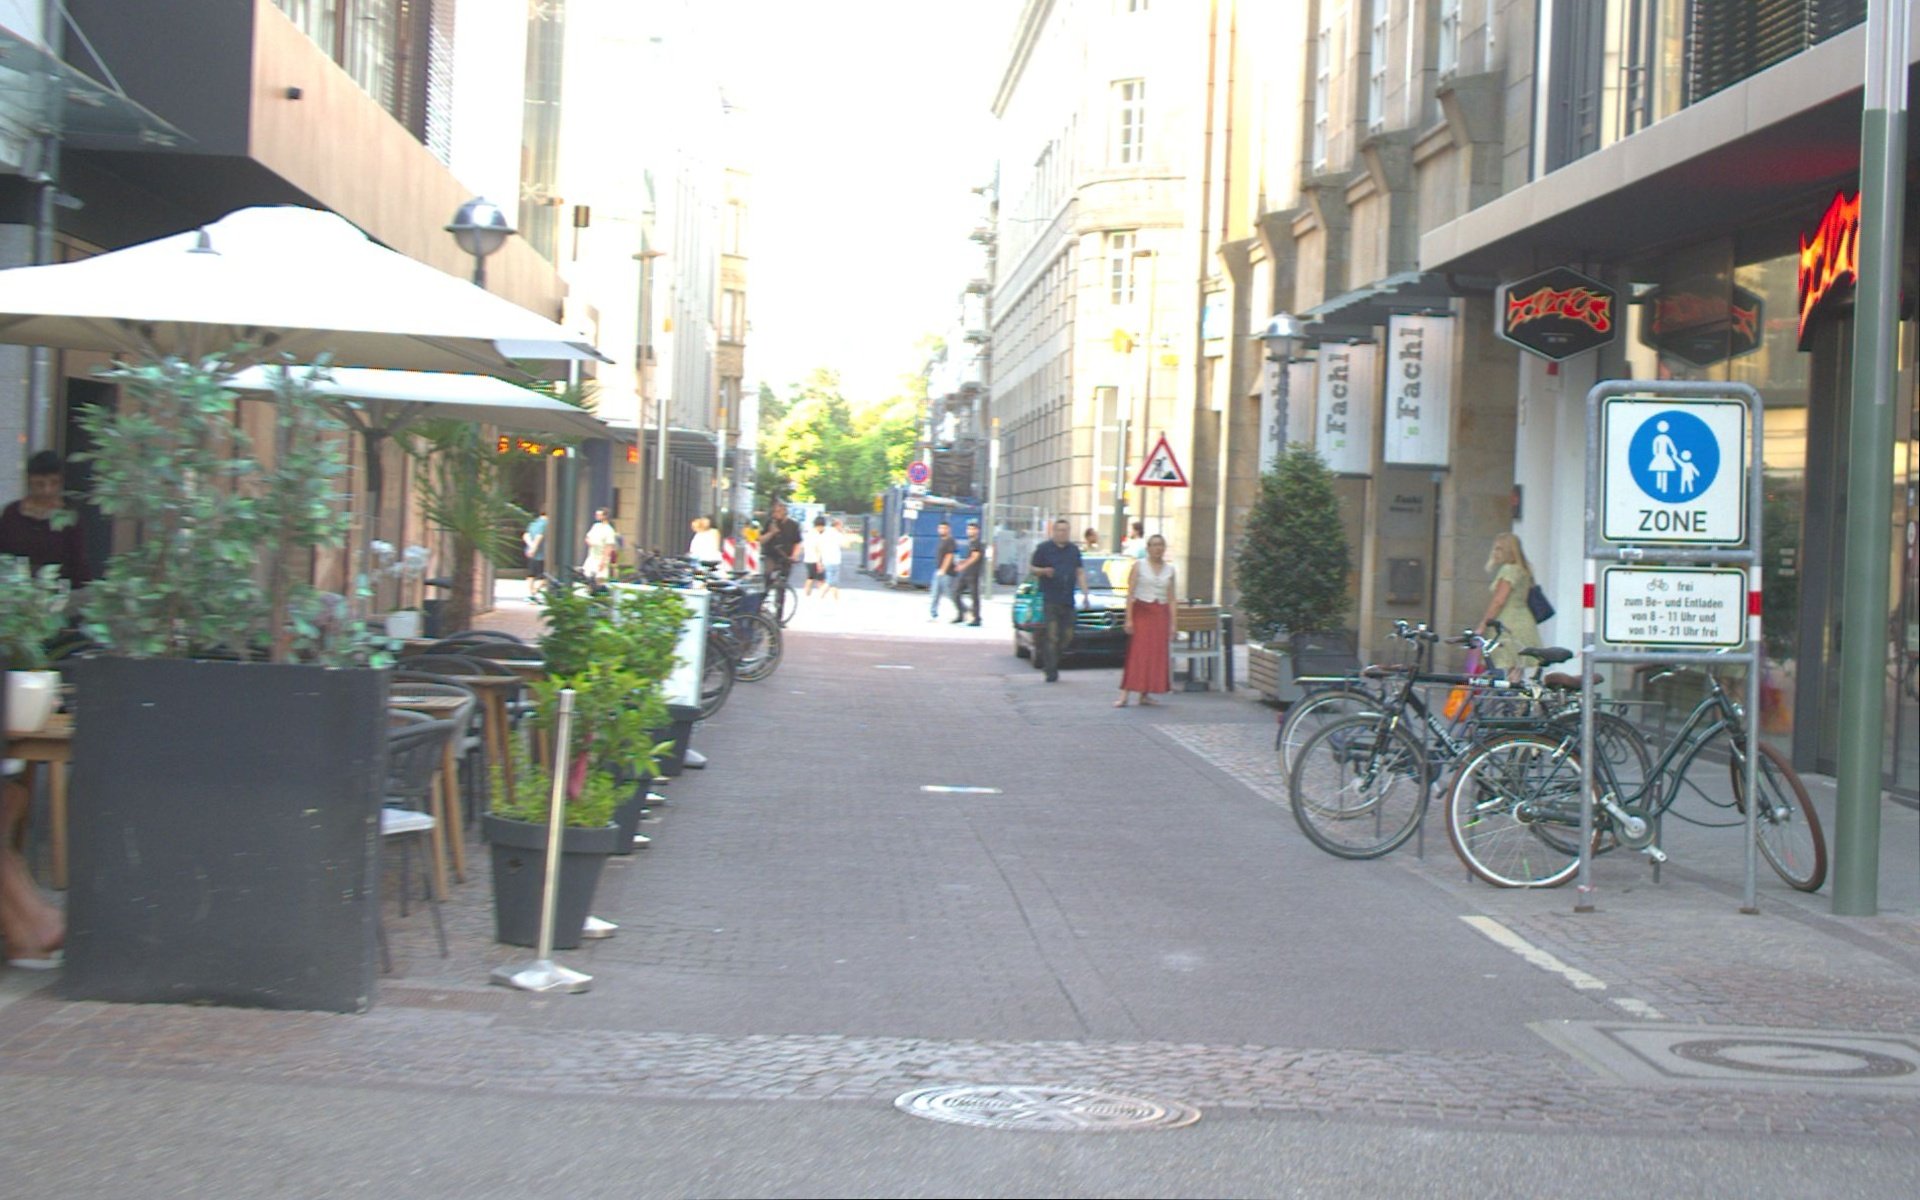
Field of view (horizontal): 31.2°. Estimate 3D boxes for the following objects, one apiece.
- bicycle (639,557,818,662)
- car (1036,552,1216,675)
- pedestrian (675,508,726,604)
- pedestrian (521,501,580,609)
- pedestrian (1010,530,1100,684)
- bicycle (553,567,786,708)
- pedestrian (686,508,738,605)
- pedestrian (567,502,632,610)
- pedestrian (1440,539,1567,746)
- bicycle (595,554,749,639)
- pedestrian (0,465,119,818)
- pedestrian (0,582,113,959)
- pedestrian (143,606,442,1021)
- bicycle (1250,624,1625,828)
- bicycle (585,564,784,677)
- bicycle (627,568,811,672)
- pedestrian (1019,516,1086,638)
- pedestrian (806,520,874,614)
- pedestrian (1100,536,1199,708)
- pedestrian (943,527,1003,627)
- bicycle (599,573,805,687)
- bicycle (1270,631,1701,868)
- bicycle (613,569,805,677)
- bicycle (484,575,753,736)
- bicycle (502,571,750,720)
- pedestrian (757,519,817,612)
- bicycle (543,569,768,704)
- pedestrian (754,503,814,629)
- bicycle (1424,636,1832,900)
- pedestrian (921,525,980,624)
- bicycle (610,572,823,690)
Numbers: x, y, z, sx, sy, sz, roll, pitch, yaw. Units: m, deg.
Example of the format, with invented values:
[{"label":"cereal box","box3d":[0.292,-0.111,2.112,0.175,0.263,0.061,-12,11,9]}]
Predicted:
[{"label":"bicycle","box3d":[-2.751,0.111,40.961,2.047,1.091,0.467,5,1,-3]},{"label":"car","box3d":[2.056,0.138,43.722,1.754,1.436,3.929,1,1,-5]},{"label":"pedestrian","box3d":[-5.136,-0.874,68.070,0.904,1.853,0.836,2,1,-2]},{"label":"pedestrian","box3d":[-7.165,-0.791,60.176,0.904,1.853,0.836,2,1,-2]},{"label":"pedestrian","box3d":[1.048,0.067,38.136,0.899,1.655,0.930,2,1,-1]},{"label":"bicycle","box3d":[-2.546,0.327,30.228,1.947,1.071,0.467,5,1,-3]},{"label":"pedestrian","box3d":[-4.849,-0.852,67.268,0.904,1.853,0.836,2,1,-2]},{"label":"pedestrian","box3d":[-6.369,-0.780,60.787,1.025,1.853,0.906,2,1,-2]},{"label":"pedestrian","box3d":[4.240,0.322,26.882,0.797,1.560,0.859,2,1,0]},{"label":"bicycle","box3d":[-4.000,-0.051,47.862,2.047,1.009,0.467,5,1,-3]},{"label":"pedestrian","box3d":[-4.506,0.182,16.491,0.790,1.643,0.726,2,1,-7]},{"label":"pedestrian","box3d":[-3.296,0.534,11.357,0.790,1.179,0.674,4,1,-4]},{"label":"pedestrian","box3d":[-2.036,0.639,10.570,0.790,1.179,0.674,4,1,-7]},{"label":"bicycle","box3d":[2.676,0.704,19.362,2.033,1.117,0.467,0,1,-2]},{"label":"bicycle","box3d":[-2.966,0.219,37.125,2.047,1.046,0.467,5,1,-3]},{"label":"bicycle","box3d":[-2.787,0.230,39.896,2.047,1.046,0.467,5,1,-3]},{"label":"pedestrian","box3d":[1.436,-0.366,53.576,0.904,1.853,0.836,2,1,-3]},{"label":"pedestrian","box3d":[-2.265,-0.626,65.187,1.010,1.728,0.981,2,1,13]},{"label":"pedestrian","box3d":[1.766,0.196,32.133,0.797,1.560,0.859,2,1,-2]},{"label":"pedestrian","box3d":[0.214,-0.395,58.395,0.904,1.655,0.793,2,1,-4]},{"label":"bicycle","box3d":[-2.663,0.309,35.614,2.047,1.013,0.467,5,1,-3]},{"label":"bicycle","box3d":[2.535,0.719,16.668,2.009,1.117,0.467,0,1,-2]},{"label":"bicycle","box3d":[-2.796,0.254,38.419,2.047,1.046,0.467,5,1,-3]},{"label":"bicycle","box3d":[-2.602,0.419,26.267,1.947,1.071,0.467,5,1,-3]},{"label":"bicycle","box3d":[-2.760,0.377,28.498,1.947,1.071,0.467,5,1,-3]},{"label":"pedestrian","box3d":[-3.289,-0.657,65.393,0.862,1.728,0.933,2,1,13]},{"label":"bicycle","box3d":[-2.762,0.327,31.285,1.947,1.071,0.467,5,1,-3]},{"label":"pedestrian","box3d":[-2.653,-0.523,51.795,0.833,1.853,0.907,2,1,-4]},{"label":"bicycle","box3d":[2.934,0.735,15.165,1.697,1.132,0.467,0,1,-2]},{"label":"pedestrian","box3d":[-0.163,-0.445,59.174,0.904,1.655,0.793,2,1,-4]},{"label":"bicycle","box3d":[-2.436,0.304,34.492,2.047,1.013,0.467,5,1,-3]}]
